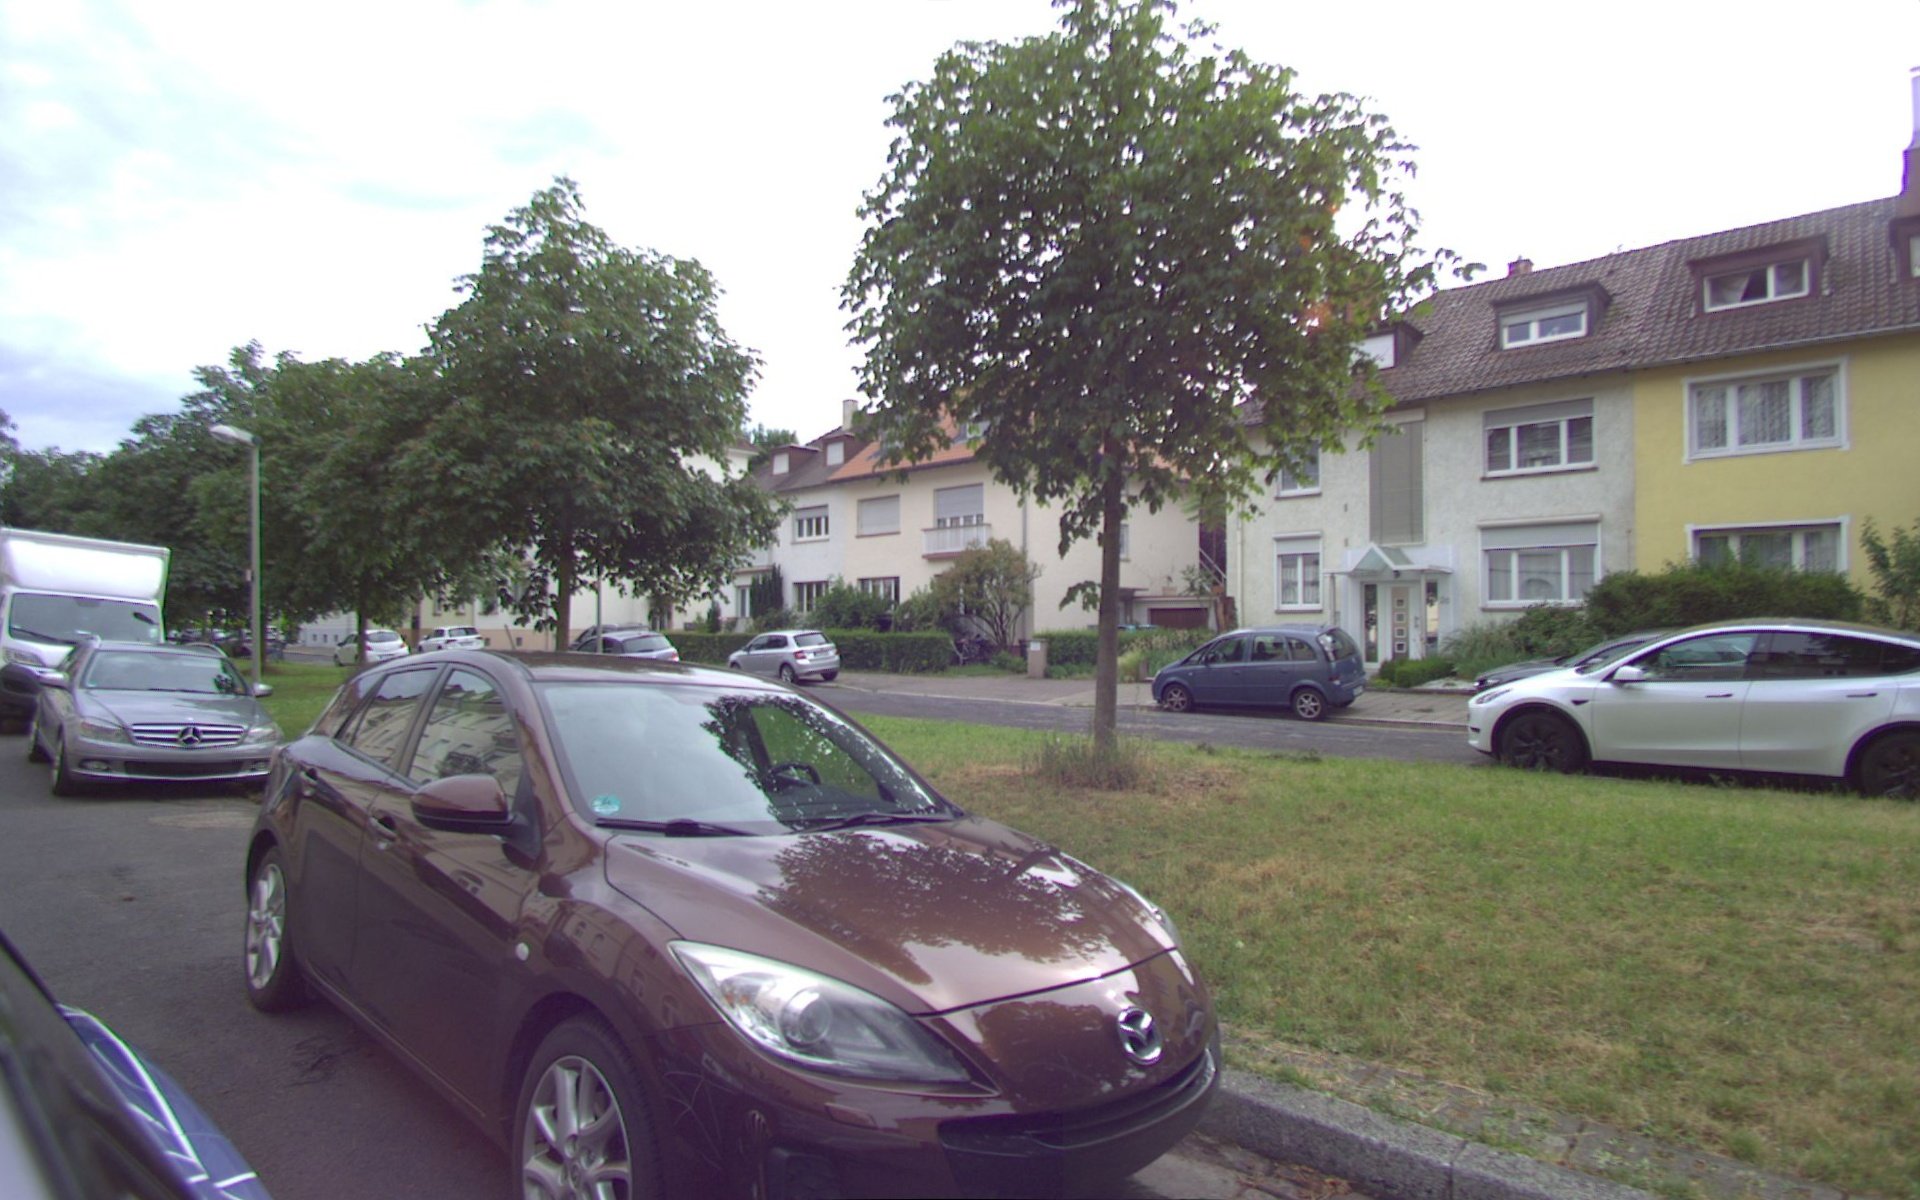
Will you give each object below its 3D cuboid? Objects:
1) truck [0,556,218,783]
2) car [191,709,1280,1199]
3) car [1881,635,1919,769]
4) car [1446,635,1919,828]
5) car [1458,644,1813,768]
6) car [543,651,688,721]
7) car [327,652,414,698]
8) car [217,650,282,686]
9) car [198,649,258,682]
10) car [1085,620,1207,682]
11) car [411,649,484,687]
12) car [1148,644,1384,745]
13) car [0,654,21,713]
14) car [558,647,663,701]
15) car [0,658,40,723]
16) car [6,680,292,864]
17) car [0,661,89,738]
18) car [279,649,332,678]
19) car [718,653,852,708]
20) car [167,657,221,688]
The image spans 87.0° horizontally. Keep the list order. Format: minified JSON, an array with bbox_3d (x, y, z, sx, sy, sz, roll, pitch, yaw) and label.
[{"bbox_3d":[-14.540,1.138,16.525,7.112,2.980,2.411,-3,-8,43],"label":"truck"},{"bbox_3d":[-1.204,1.234,3.620,4.163,1.469,1.692,-3,-8,43],"label":"car"},{"bbox_3d":[13.430,1.203,11.522,1.679,1.578,4.214,0,-1,-43],"label":"car"},{"bbox_3d":[7.647,1.139,9.889,4.884,1.578,1.876,-2,-3,43],"label":"car"},{"bbox_3d":[9.961,1.458,15.131,4.167,1.511,1.695,-3,-1,43],"label":"car"},{"bbox_3d":[-8.642,2.067,25.234,4.007,1.499,1.780,-2,-1,43],"label":"car"},{"bbox_3d":[-22.200,2.774,38.044,4.007,1.499,1.780,-2,-1,43],"label":"car"},{"bbox_3d":[-36.234,3.446,51.594,4.007,1.652,1.943,-2,-1,43],"label":"car"},{"bbox_3d":[-40.219,3.579,55.588,4.007,1.652,1.943,-2,-1,43],"label":"car"},{"bbox_3d":[6.077,1.620,32.852,2.000,1.741,3.943,-3,-1,44],"label":"car"},{"bbox_3d":[-23.764,3.121,46.903,4.007,1.619,1.780,-2,-1,43],"label":"car"},{"bbox_3d":[5.696,1.696,19.127,3.884,1.614,1.696,-3,-1,42],"label":"car"},{"bbox_3d":[-30.187,2.475,30.836,4.313,1.721,1.761,-2,-6,41],"label":"car"},{"bbox_3d":[-12.529,2.586,36.182,4.101,1.686,1.780,-2,1,43],"label":"car"},{"bbox_3d":[-24.935,2.285,25.881,4.149,1.526,1.622,-2,-3,41],"label":"car"},{"bbox_3d":[-8.830,1.682,10.864,4.448,1.469,1.692,-3,-7,43],"label":"car"},{"bbox_3d":[-20.696,2.141,22.304,4.149,1.526,1.622,-2,-6,41],"label":"car"},{"bbox_3d":[-42.176,4.075,65.166,4.007,1.651,1.943,-2,1,43],"label":"car"},{"bbox_3d":[-5.081,2.246,29.043,3.942,1.365,1.780,-2,-1,43],"label":"car"},{"bbox_3d":[-45.733,4.266,60.363,4.007,1.652,1.943,-2,-1,43],"label":"car"}]
